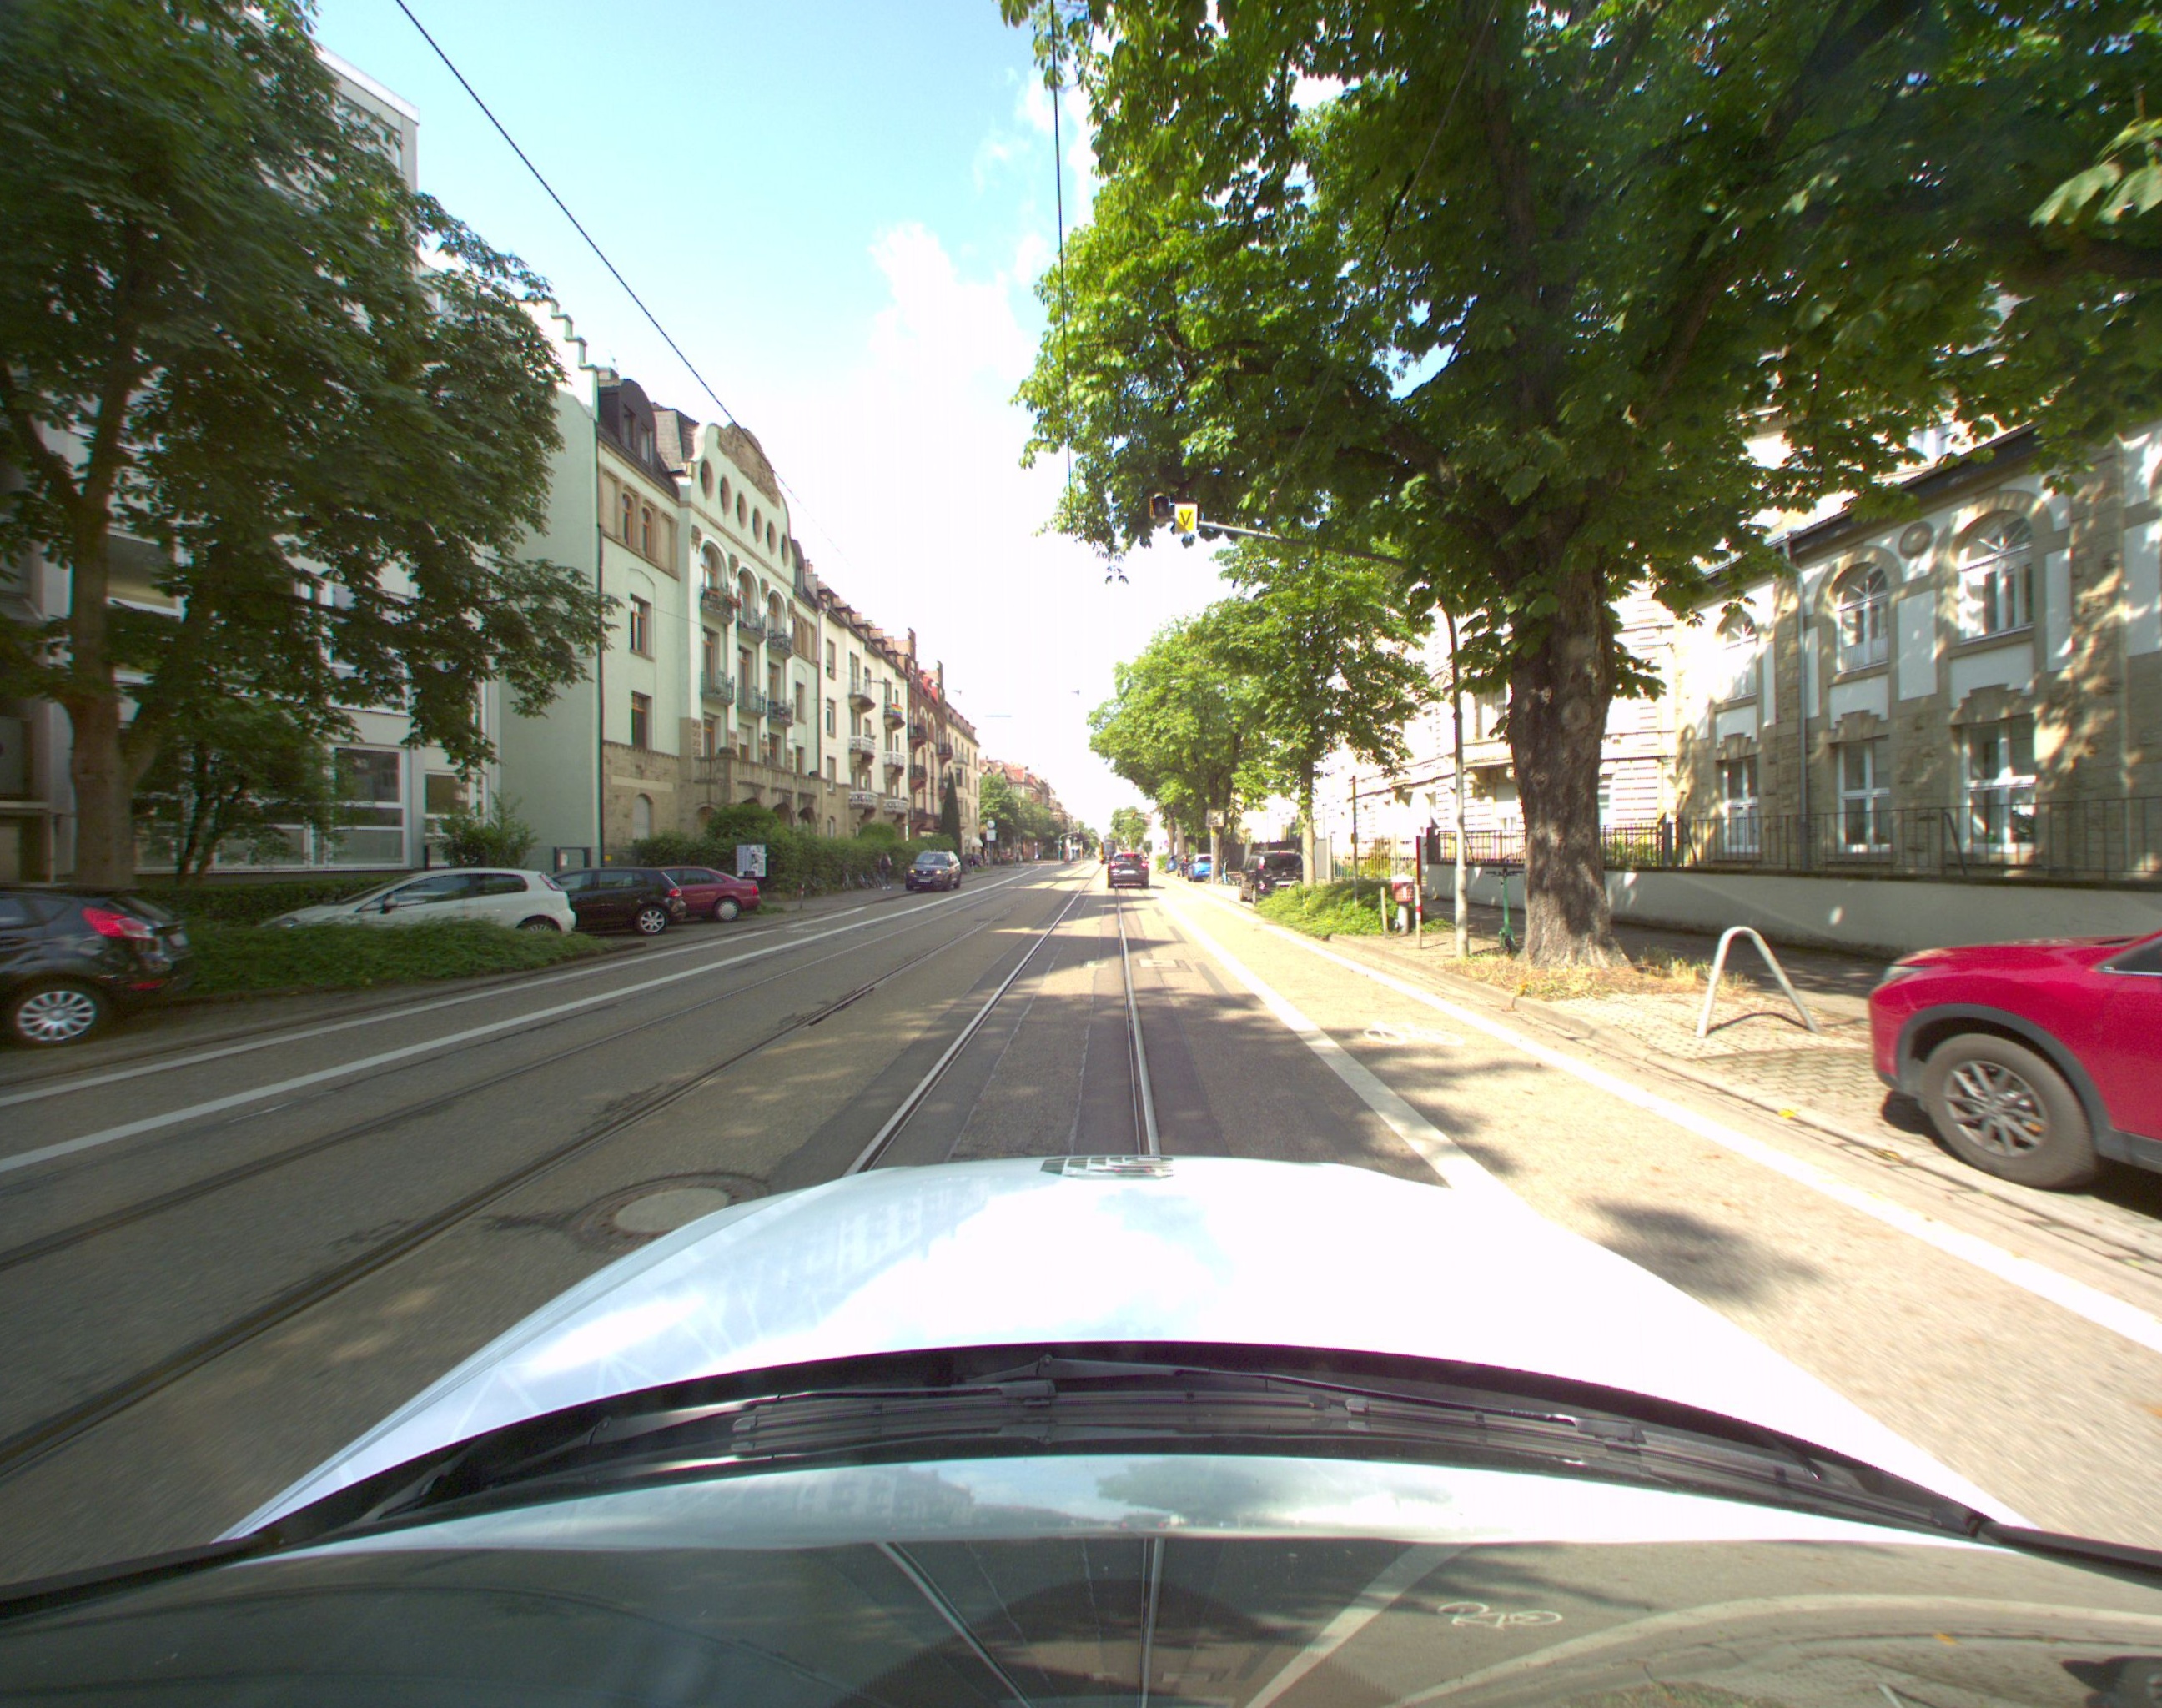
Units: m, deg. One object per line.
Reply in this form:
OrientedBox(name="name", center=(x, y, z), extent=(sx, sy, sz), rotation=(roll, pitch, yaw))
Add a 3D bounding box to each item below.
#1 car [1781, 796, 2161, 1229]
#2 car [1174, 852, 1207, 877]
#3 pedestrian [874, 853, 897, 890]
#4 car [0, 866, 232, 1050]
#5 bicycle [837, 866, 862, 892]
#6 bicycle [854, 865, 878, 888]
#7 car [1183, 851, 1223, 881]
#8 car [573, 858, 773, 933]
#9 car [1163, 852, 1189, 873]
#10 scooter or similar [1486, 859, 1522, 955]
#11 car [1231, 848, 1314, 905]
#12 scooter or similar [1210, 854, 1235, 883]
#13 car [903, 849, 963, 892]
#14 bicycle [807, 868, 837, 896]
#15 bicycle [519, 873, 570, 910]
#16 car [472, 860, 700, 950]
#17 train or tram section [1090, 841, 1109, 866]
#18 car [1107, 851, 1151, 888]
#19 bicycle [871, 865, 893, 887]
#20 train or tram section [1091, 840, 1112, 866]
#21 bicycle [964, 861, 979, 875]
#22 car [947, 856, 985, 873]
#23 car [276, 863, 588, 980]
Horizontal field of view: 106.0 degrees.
OrientedBox(name="car", center=(5.092, 0.578, 2.669), extent=(1.870, 1.676, 4.281), rotation=(-2, 0, 0))
OrientedBox(name="car", center=(7.041, 0.659, 52.634), extent=(1.634, 1.496, 3.757), rotation=(-2, 0, 0))
OrientedBox(name="pedestrian", center=(-8.346, 0.730, 34.772), extent=(0.677, 1.568, 0.883), rotation=(1, 0, 4))
OrientedBox(name="car", center=(-10.265, 0.962, 6.916), extent=(4.021, 1.484, 1.720), rotation=(-3, 0, -41))
OrientedBox(name="bicycle", center=(-9.320, 0.991, 32.873), extent=(0.381, 0.959, 1.812), rotation=(1, 0, 4))
OrientedBox(name="bicycle", center=(-9.217, 0.952, 34.965), extent=(0.381, 0.959, 1.812), rotation=(1, 0, 4))
OrientedBox(name="car", center=(6.659, 0.644, 44.729), extent=(1.634, 1.496, 3.627), rotation=(-2, 0, 0))
OrientedBox(name="car", center=(-9.890, 0.956, 19.897), extent=(3.992, 1.484, 1.824), rotation=(-3, 0, -41))
OrientedBox(name="car", center=(7.304, 0.653, 63.017), extent=(1.618, 1.496, 3.849), rotation=(-3, 0, 2))
OrientedBox(name="scooter or similar", center=(5.912, 0.709, 11.417), extent=(0.338, 1.237, 1.267), rotation=(-4, -1, 26))
OrientedBox(name="car", center=(6.000, 0.668, 25.998), extent=(1.691, 1.591, 4.203), rotation=(-2, 0, 1))
OrientedBox(name="scooter or similar", center=(6.551, 0.675, 37.789), extent=(0.443, 1.299, 1.171), rotation=(-4, 2, -29))
OrientedBox(name="car", center=(-6.497, 0.679, 36.258), extent=(1.779, 1.762, 4.882), rotation=(-1, 0, 0))
OrientedBox(name="bicycle", center=(-9.452, 1.012, 29.749), extent=(0.381, 0.959, 1.812), rotation=(1, 0, 4))
OrientedBox(name="bicycle", center=(-16.759, 1.154, 25.466), extent=(0.381, 1.064, 1.810), rotation=(1, 0, 0))
OrientedBox(name="car", center=(-10.171, 0.973, 16.852), extent=(3.826, 1.484, 1.678), rotation=(-3, 0, -38))
OrientedBox(name="train or tram section", center=(2.780, -0.044, 124.674), extent=(2.644, 3.528, 8.492), rotation=(-1, -1, -1))
OrientedBox(name="car", center=(2.091, 0.628, 36.354), extent=(1.783, 1.512, 4.352), rotation=(0, 1, 1))
OrientedBox(name="bicycle", center=(-9.053, 0.988, 37.100), extent=(0.381, 0.959, 1.923), rotation=(1, 0, 4))
OrientedBox(name="train or tram section", center=(2.894, -0.092, 116.165), extent=(2.644, 3.528, 8.492), rotation=(-1, -1, -1))
OrientedBox(name="bicycle", center=(-8.055, 1.045, 60.039), extent=(0.508, 0.959, 1.819), rotation=(2, -2, 9))
OrientedBox(name="car", center=(-10.980, 0.979, 77.781), extent=(3.221, 1.513, 1.681), rotation=(1, 0, 5))
OrientedBox(name="car", center=(-10.583, 1.002, 13.484), extent=(3.829, 1.484, 1.677), rotation=(-3, 0, -44))
